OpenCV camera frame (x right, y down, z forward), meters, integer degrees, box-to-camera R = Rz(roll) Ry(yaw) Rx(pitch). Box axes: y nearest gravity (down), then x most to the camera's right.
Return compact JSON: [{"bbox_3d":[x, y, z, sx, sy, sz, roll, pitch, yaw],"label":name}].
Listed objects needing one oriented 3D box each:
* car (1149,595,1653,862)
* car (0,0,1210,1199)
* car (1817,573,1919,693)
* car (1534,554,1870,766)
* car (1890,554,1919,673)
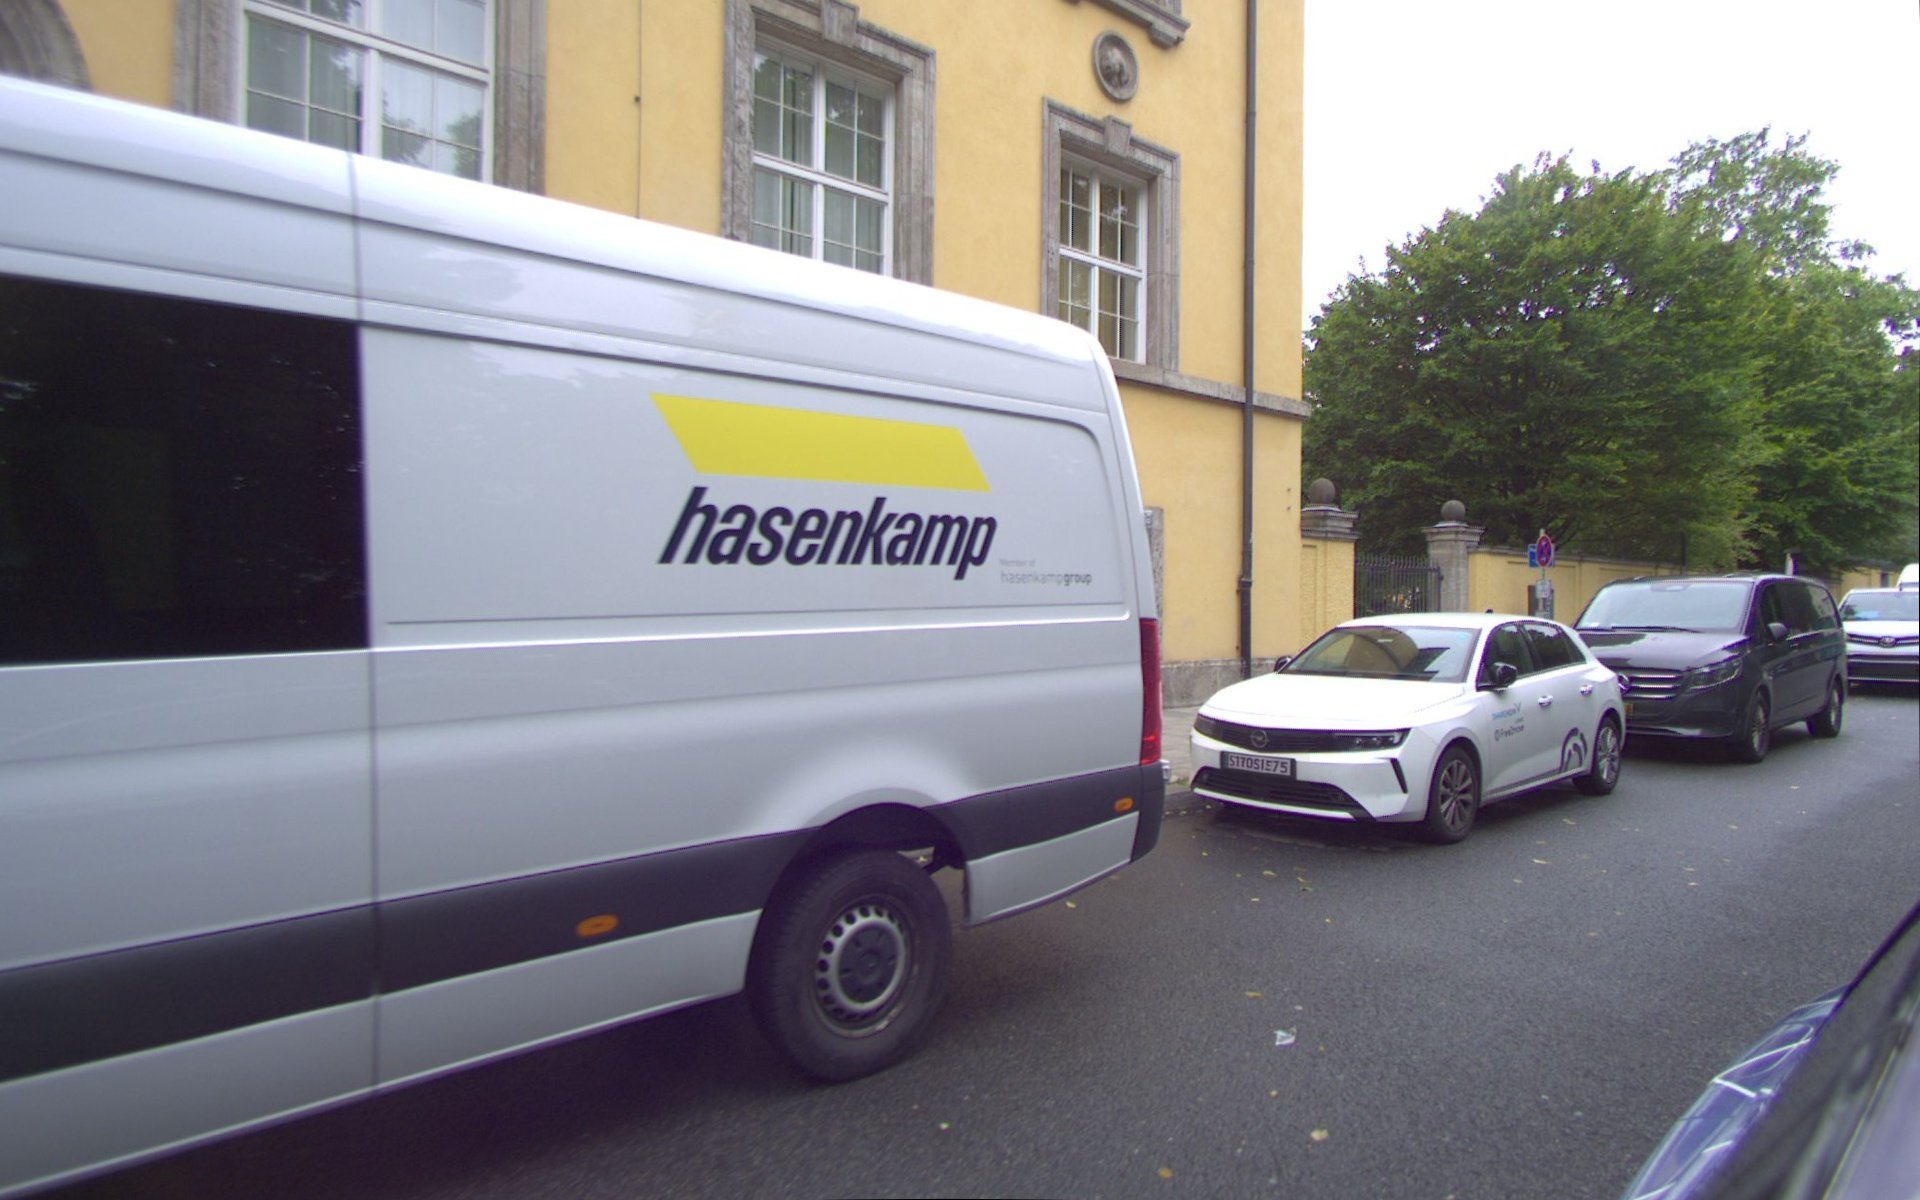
[{"bbox_3d":[3.542,0.718,7.793,4.179,1.476,1.875,-1,0,-39],"label":"car"},{"bbox_3d":[-2.509,0.178,2.577,7.478,2.706,2.059,-1,0,-39],"label":"car"},{"bbox_3d":[17.268,0.531,18.221,5.073,1.931,2.016,0,-1,-41],"label":"car"},{"bbox_3d":[8.441,0.508,11.324,4.897,1.892,1.875,-1,0,-39],"label":"car"},{"bbox_3d":[22.798,0.233,22.676,5.637,2.519,2.100,-1,1,-39],"label":"car"}]
